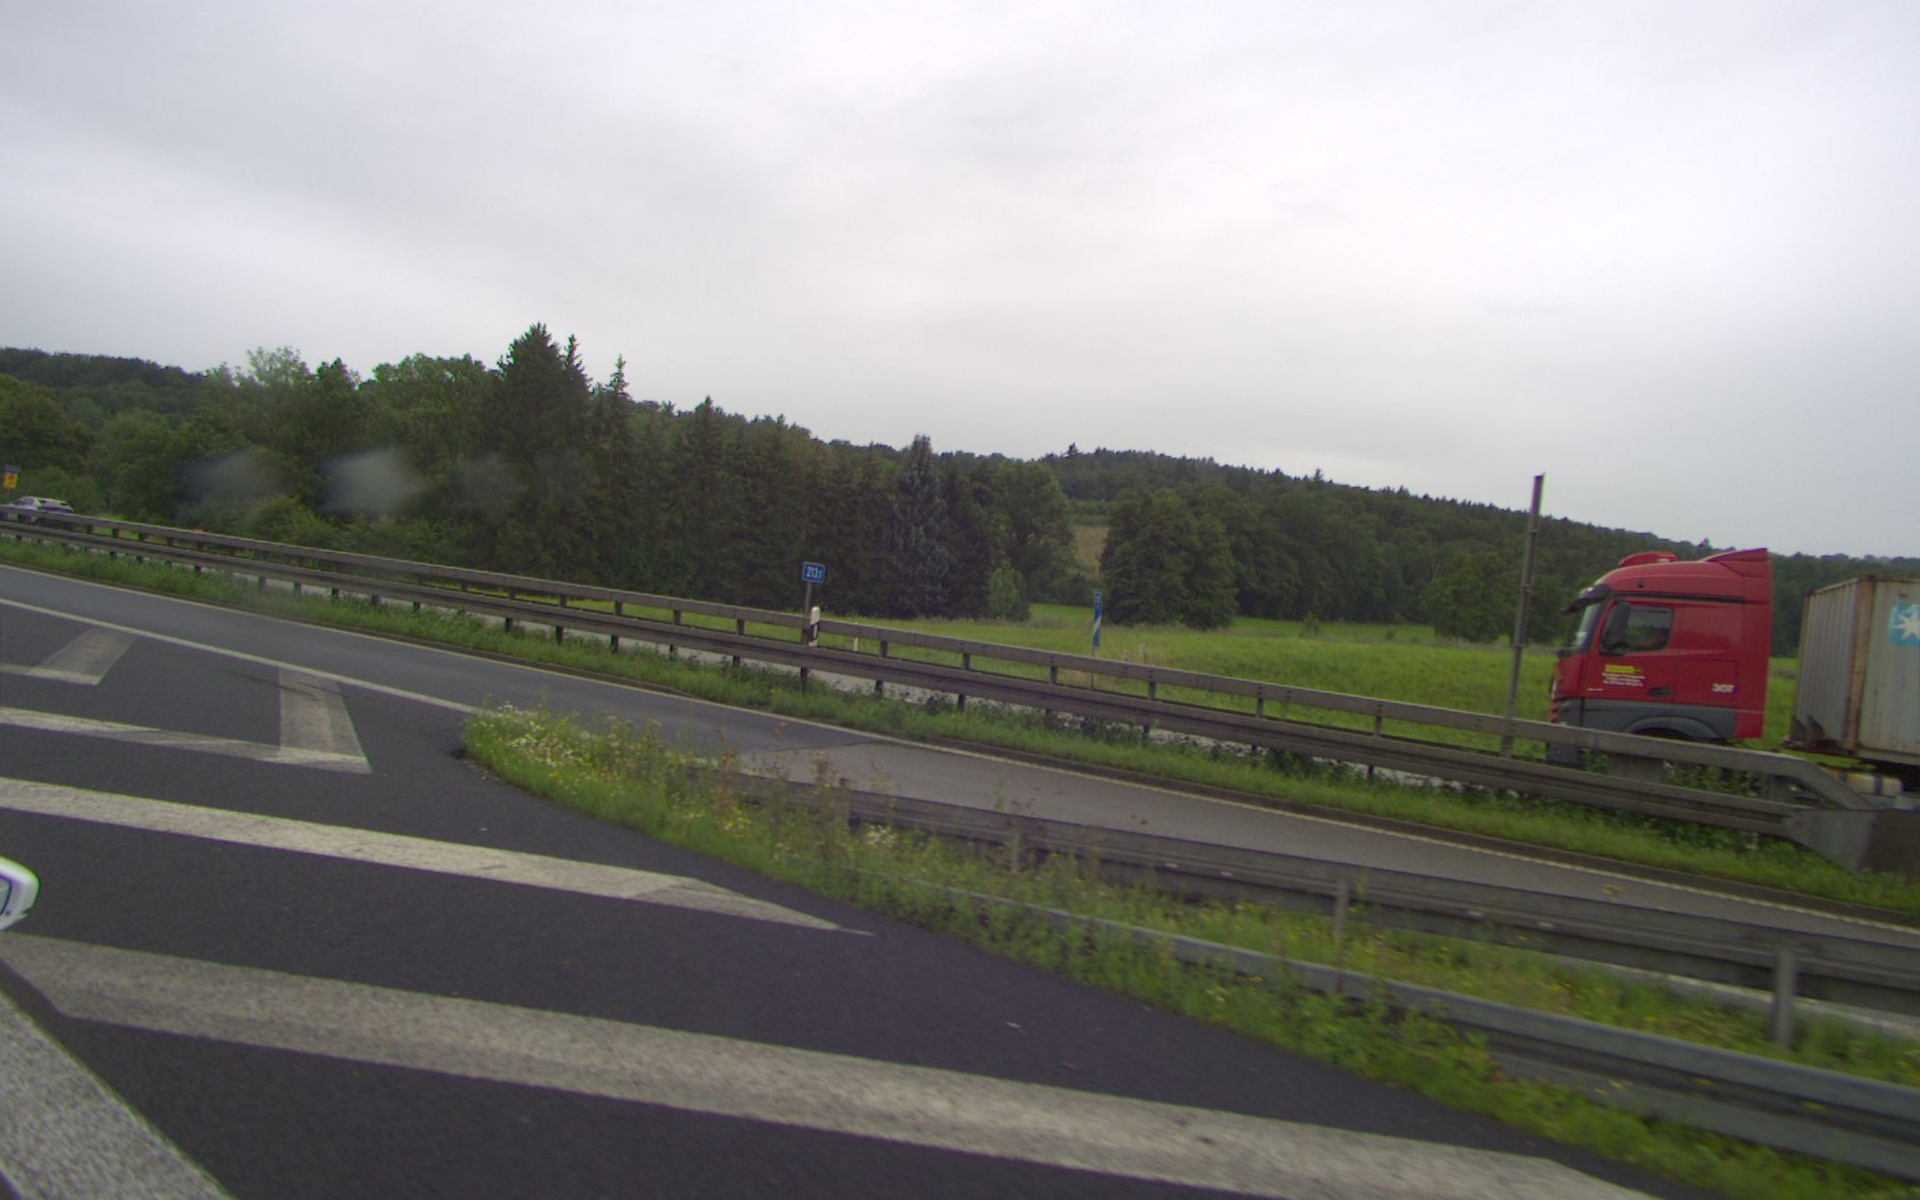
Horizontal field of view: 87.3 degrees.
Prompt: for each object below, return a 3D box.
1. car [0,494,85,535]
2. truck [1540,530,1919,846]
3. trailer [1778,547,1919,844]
[{"bbox_3d":[-47.466,-4.420,51.869,4.944,1.522,1.823,7,-1,28],"label":"car"},{"bbox_3d":[12.633,1.333,15.504,5.823,4.032,2.516,7,-1,26],"label":"truck"},{"bbox_3d":[18.508,2.000,12.643,12.185,4.030,2.498,7,-2,26],"label":"trailer"}]
